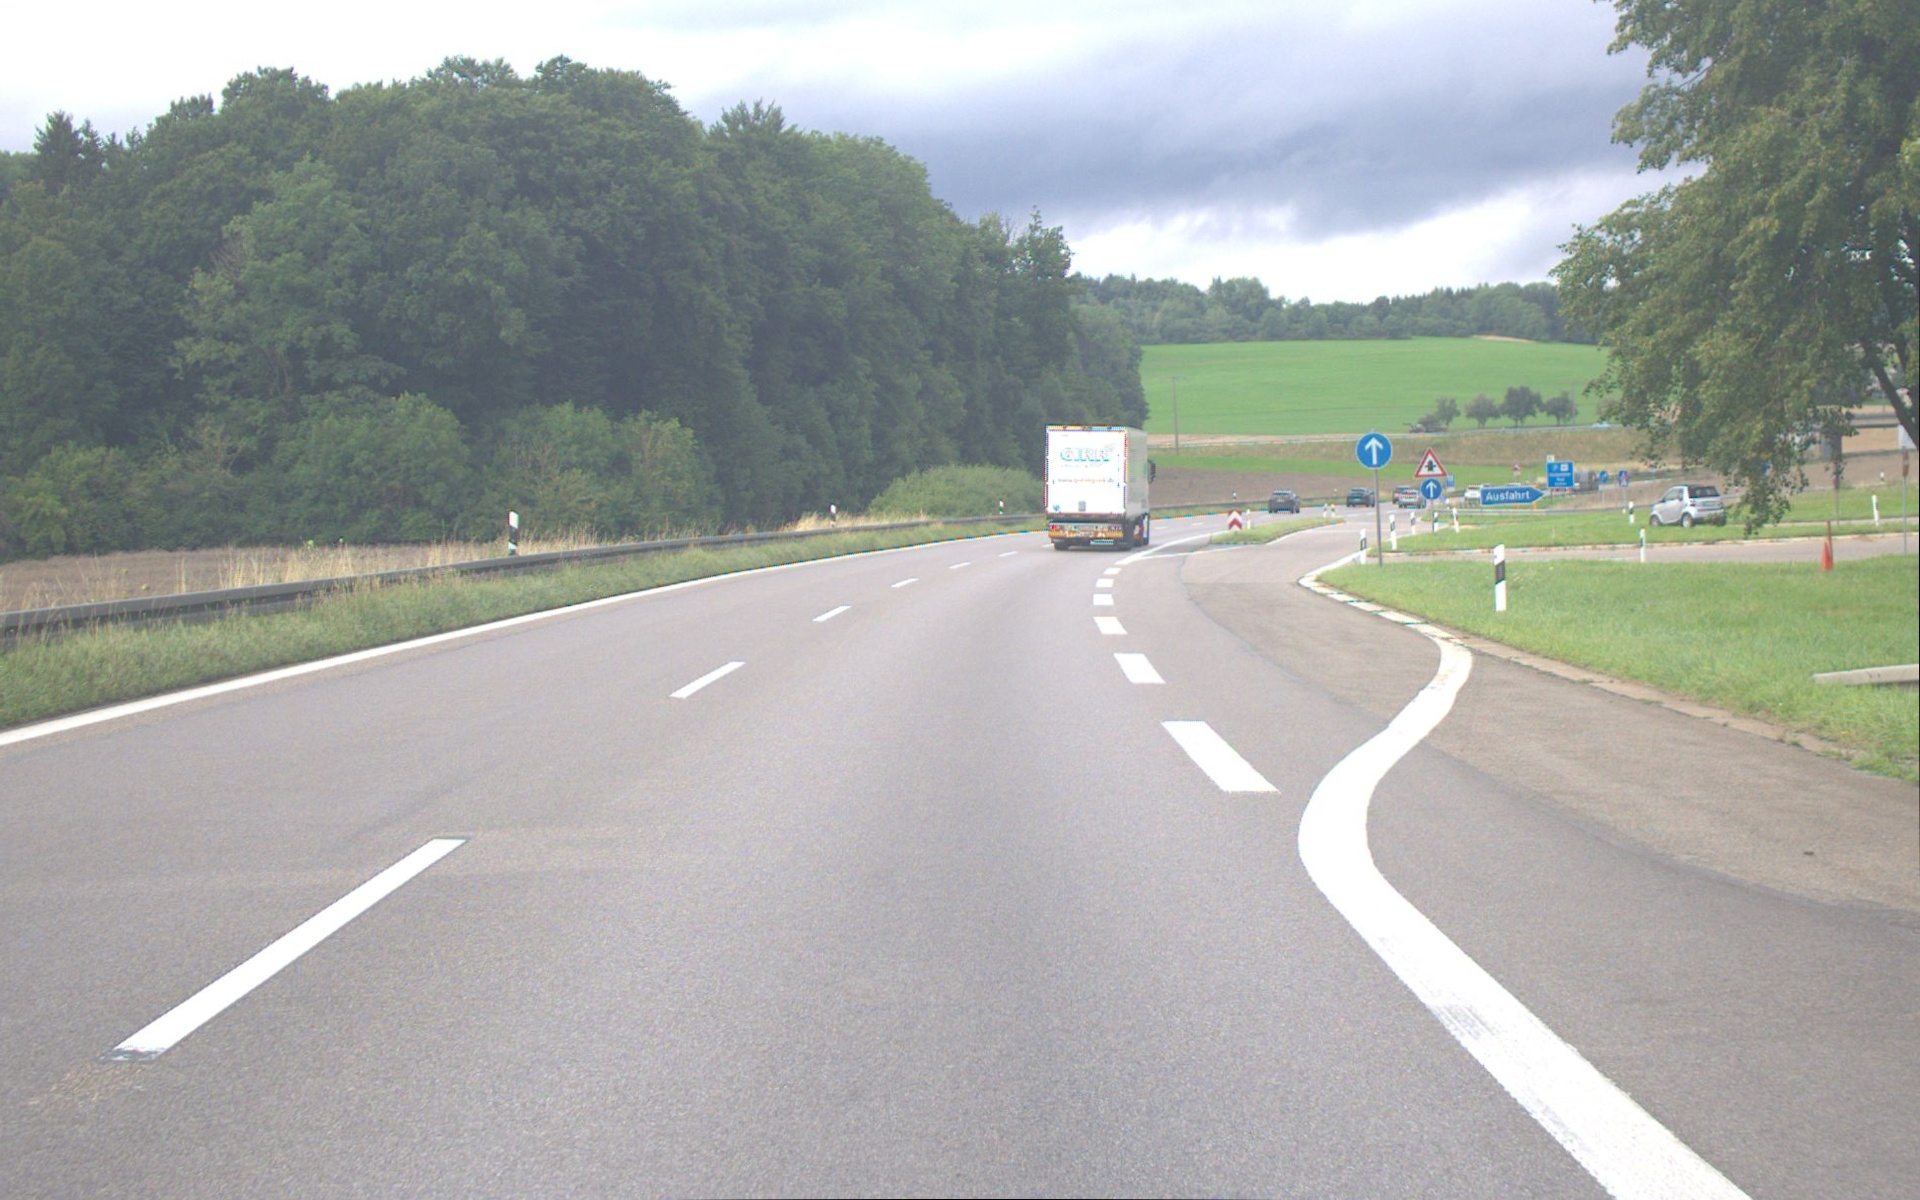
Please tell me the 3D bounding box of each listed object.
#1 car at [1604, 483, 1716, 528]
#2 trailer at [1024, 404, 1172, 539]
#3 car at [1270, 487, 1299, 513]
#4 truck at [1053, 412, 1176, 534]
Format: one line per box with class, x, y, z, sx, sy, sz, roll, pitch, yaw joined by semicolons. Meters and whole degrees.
car;24.780;-3.364;121.803;1.777;1.546;4.001;-2;3;-26
trailer;4.746;-4.241;114.473;3.806;4.160;14.806;1;2;6
car;23.234;-7.126;246.049;1.903;1.789;3.999;1;1;8
truck;5.532;-4.501;121.507;3.788;4.117;8.264;1;2;6
